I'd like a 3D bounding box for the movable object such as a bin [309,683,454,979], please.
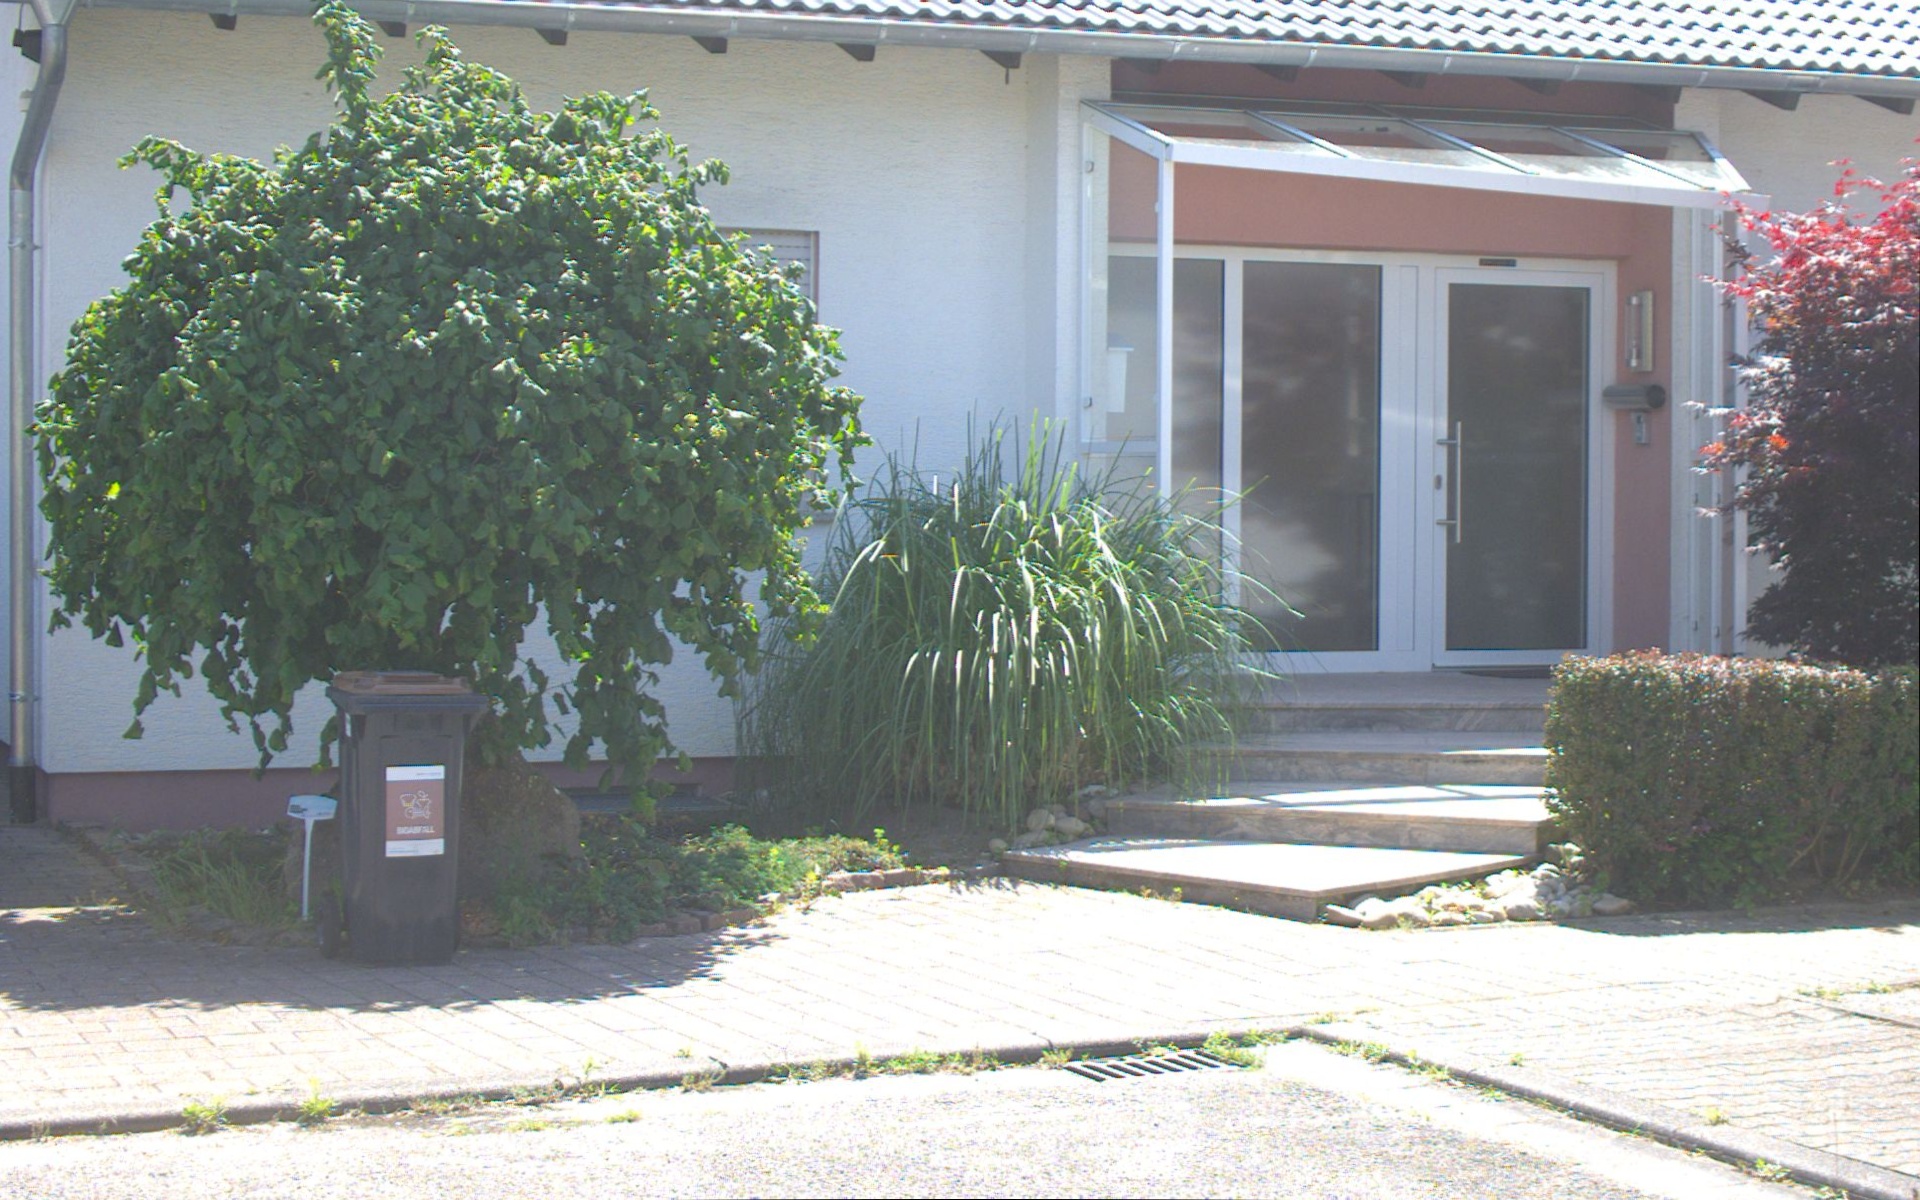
[{"bbox_3d":[-1.837,0.724,10.909,0.374,0.888,0.391,-1,2,-22],"label":"movable object such as a bin"}]
